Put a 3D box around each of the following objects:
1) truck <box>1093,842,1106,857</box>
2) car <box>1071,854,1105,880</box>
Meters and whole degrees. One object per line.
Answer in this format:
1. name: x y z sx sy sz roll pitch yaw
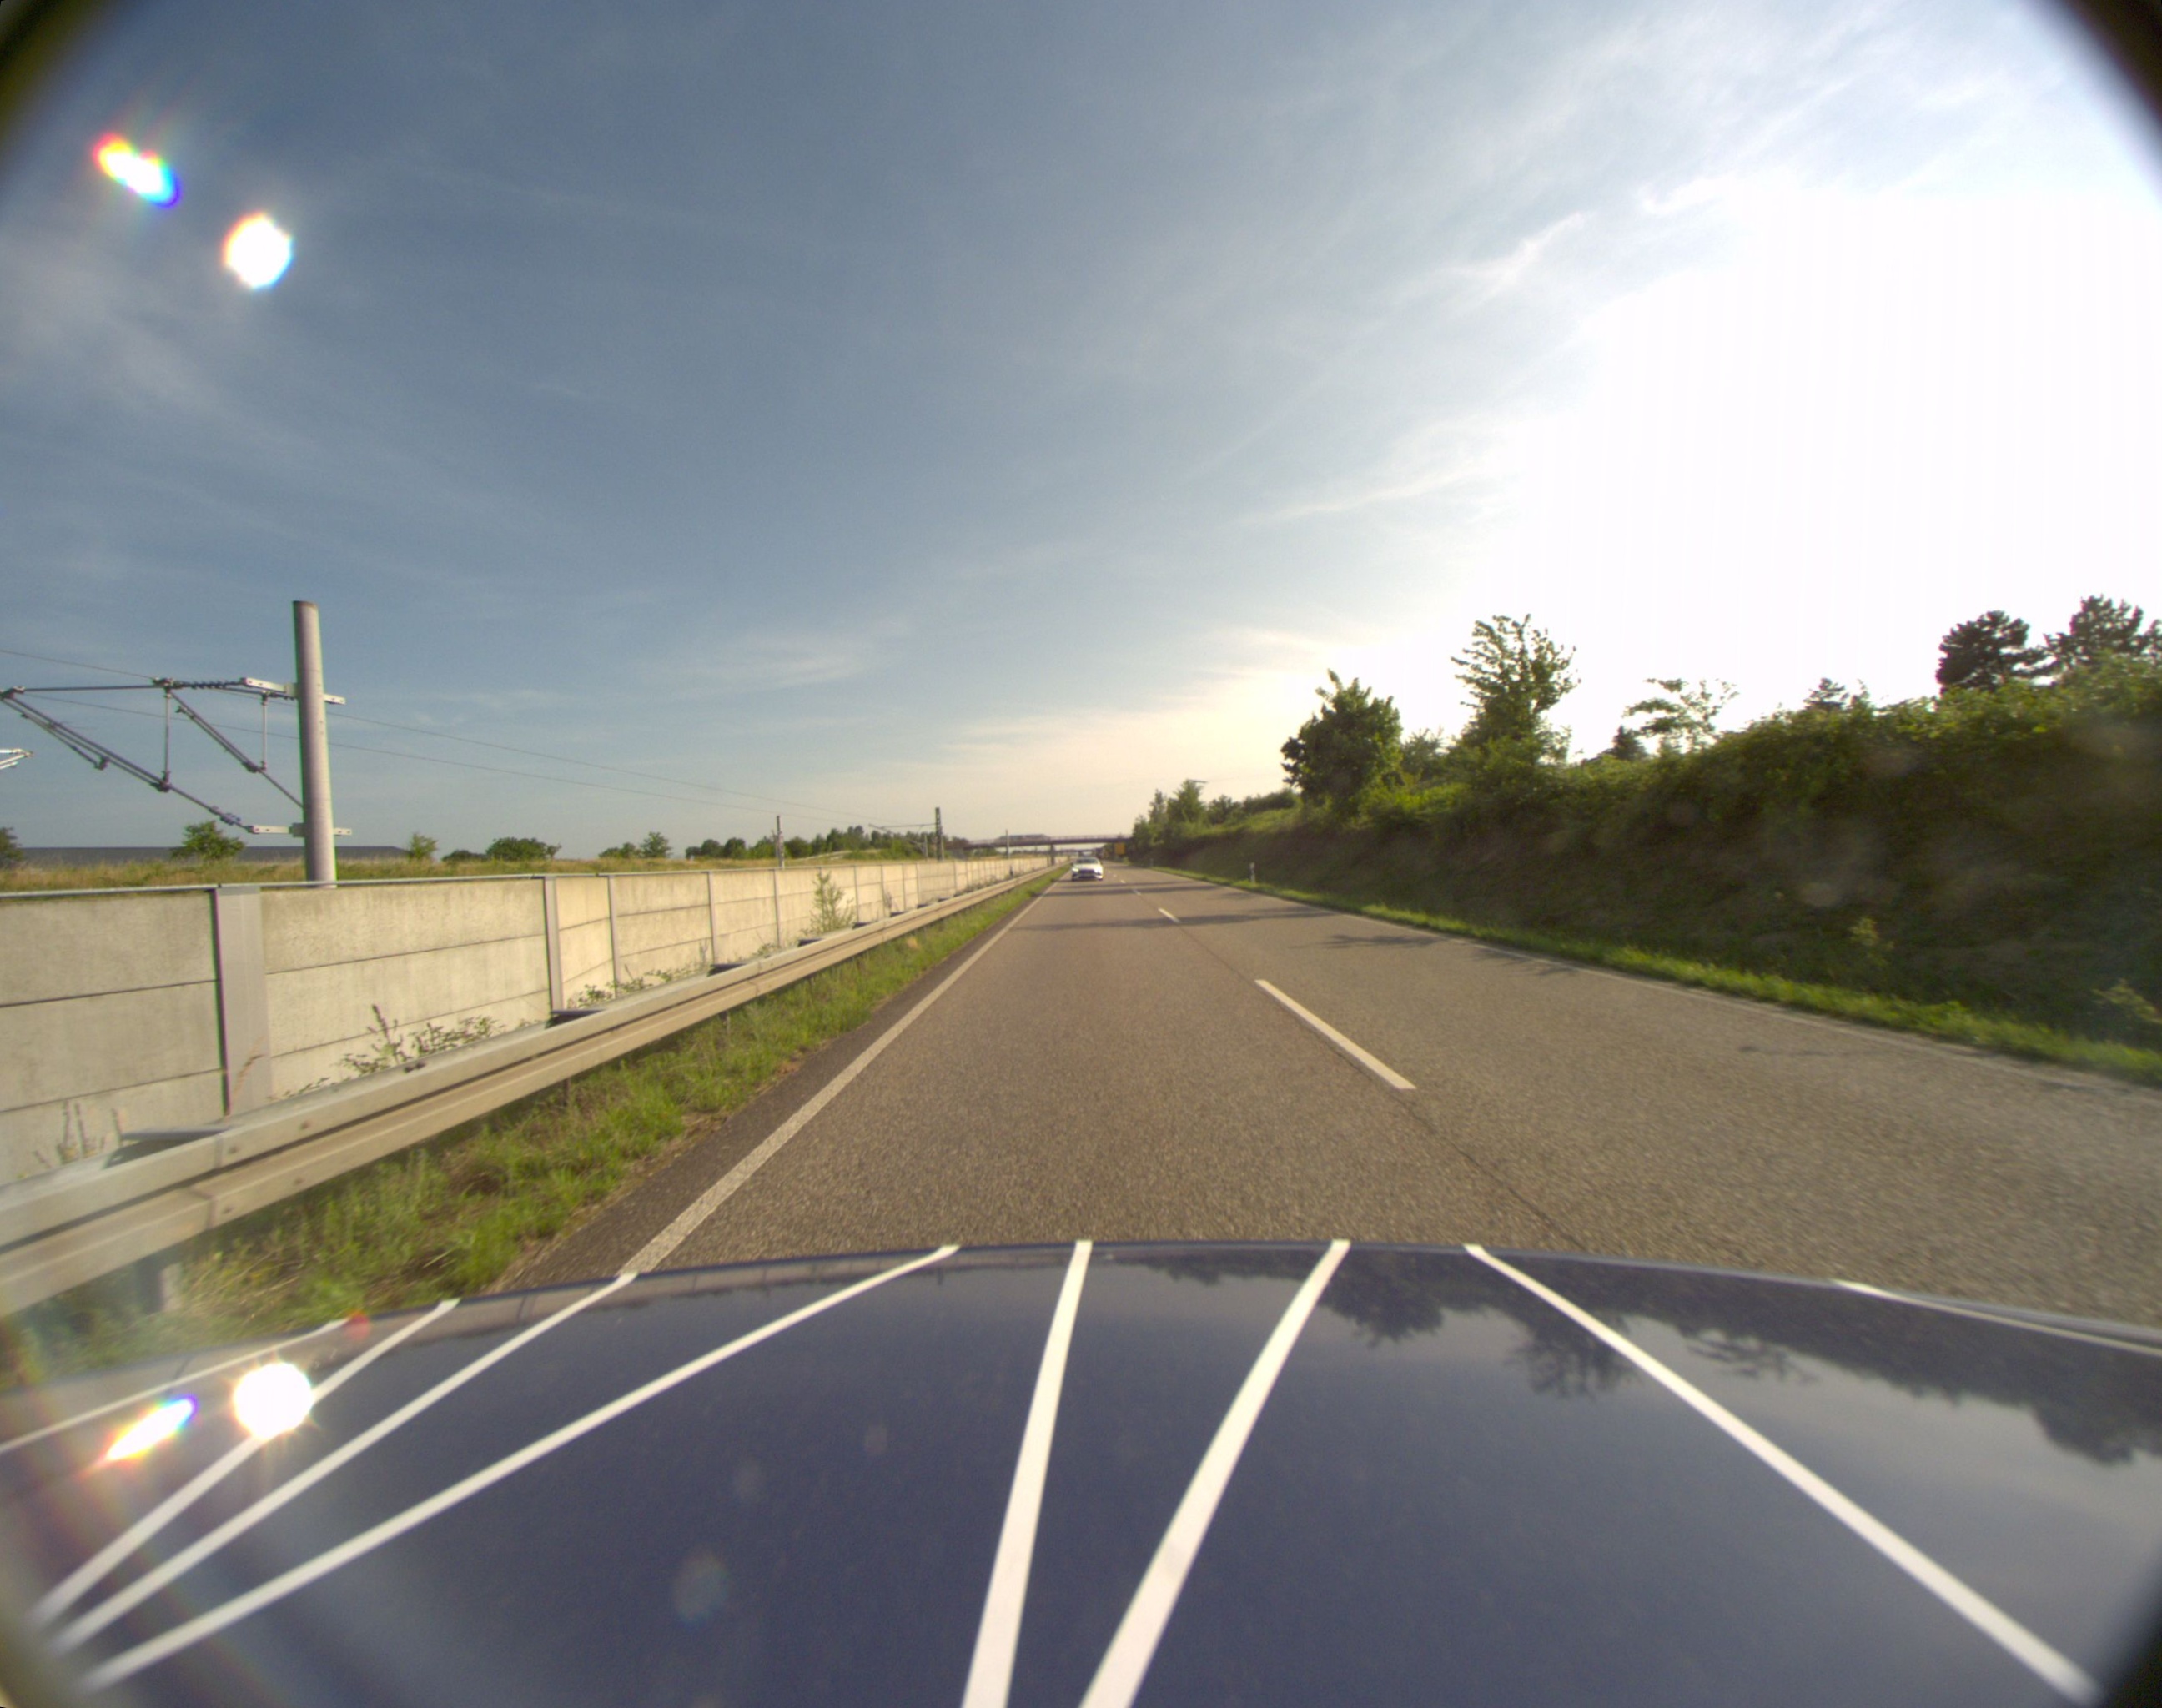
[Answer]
1. truck: 6.156 -1.561 256.798 3.792 4.617 19.838 -2 0 1
2. car: 0.429 0.774 47.074 1.952 1.430 4.612 -2 0 1
